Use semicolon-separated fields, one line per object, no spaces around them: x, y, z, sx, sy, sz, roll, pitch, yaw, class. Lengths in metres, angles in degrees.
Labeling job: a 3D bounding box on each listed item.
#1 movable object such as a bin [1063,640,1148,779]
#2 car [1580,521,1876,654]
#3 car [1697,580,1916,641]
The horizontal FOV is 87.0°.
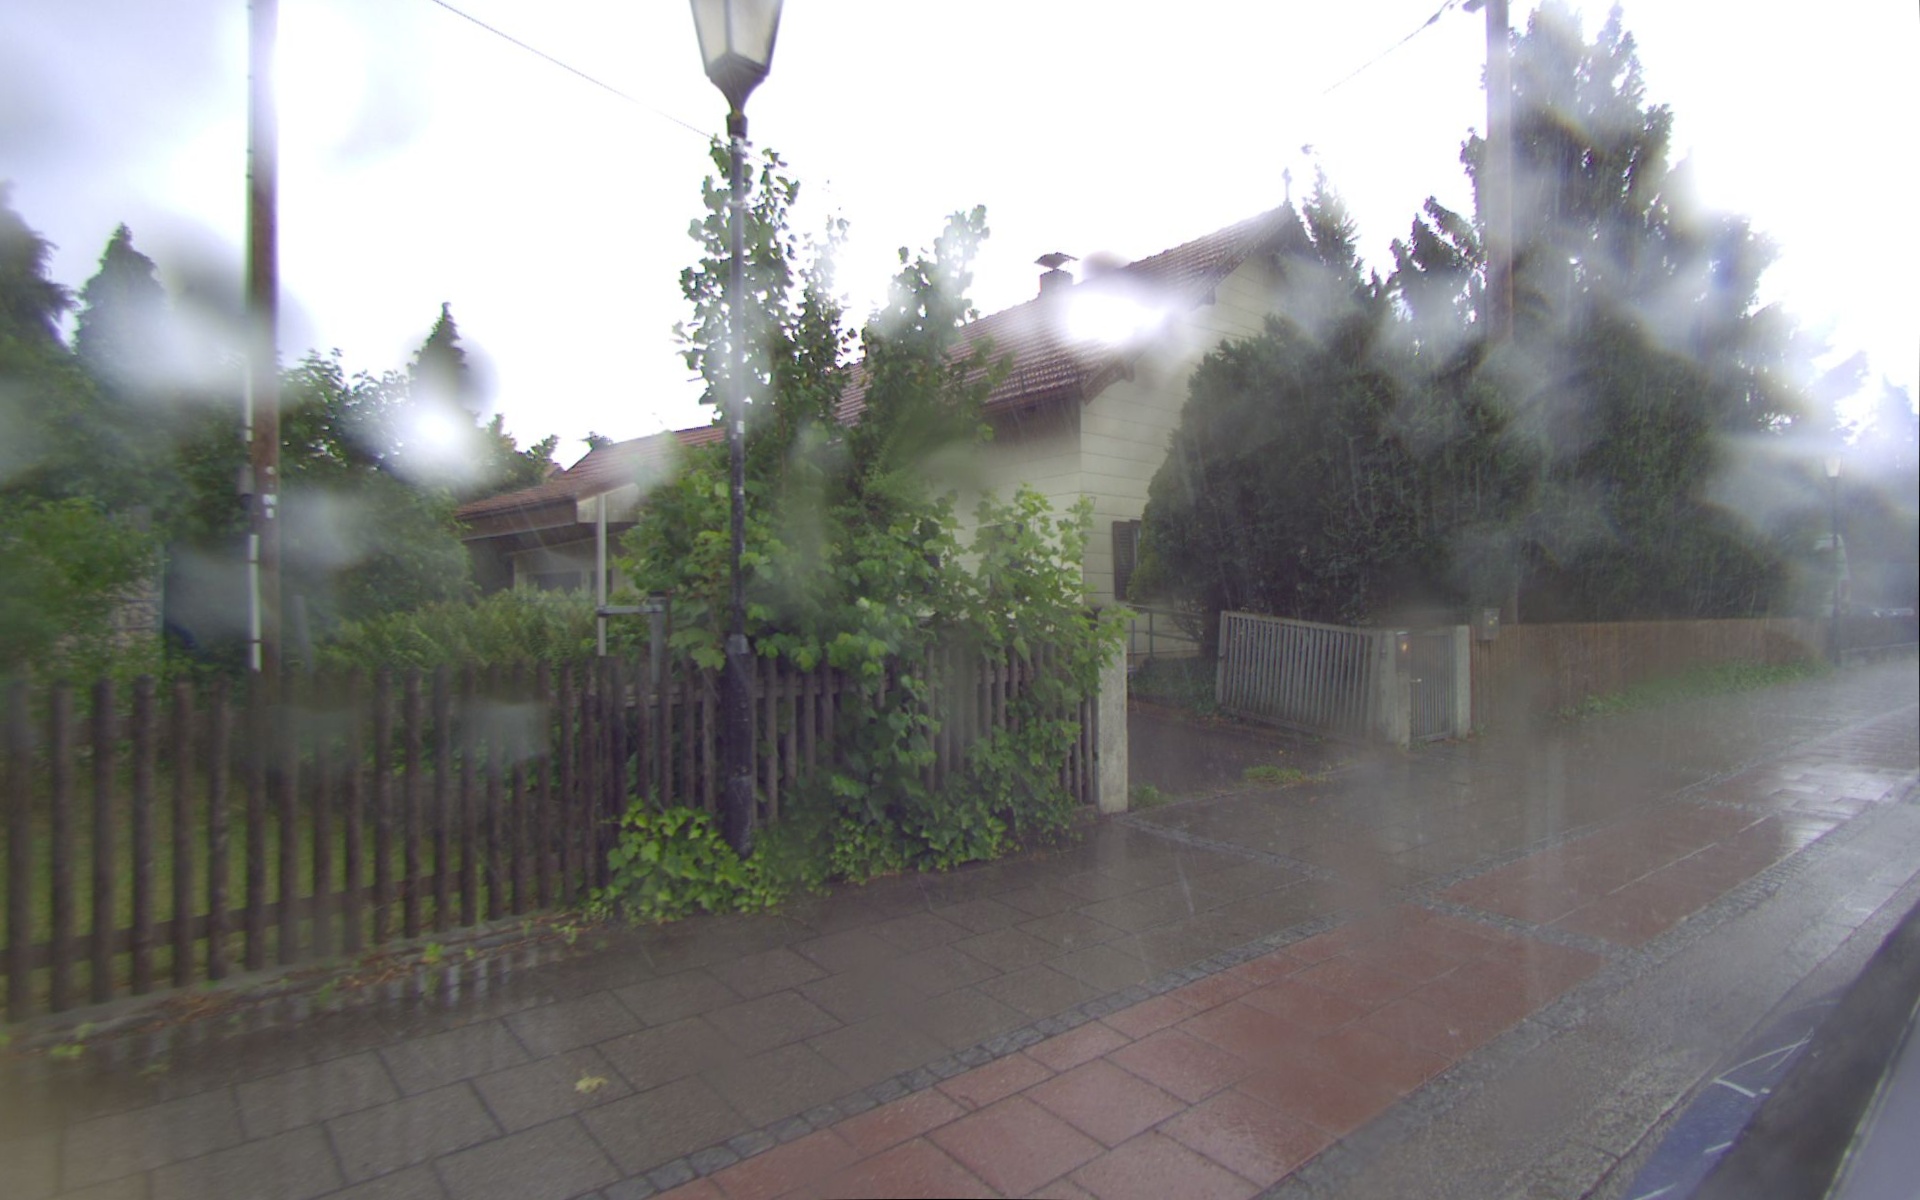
1.082;0.794;7.541;0.438;0.947;0.435;0;2;-38;movable object such as a bin
17.784;-0.363;23.650;5.303;2.761;1.969;3;2;43;car
23.004;0.220;27.626;4.432;1.438;1.801;3;3;45;car
